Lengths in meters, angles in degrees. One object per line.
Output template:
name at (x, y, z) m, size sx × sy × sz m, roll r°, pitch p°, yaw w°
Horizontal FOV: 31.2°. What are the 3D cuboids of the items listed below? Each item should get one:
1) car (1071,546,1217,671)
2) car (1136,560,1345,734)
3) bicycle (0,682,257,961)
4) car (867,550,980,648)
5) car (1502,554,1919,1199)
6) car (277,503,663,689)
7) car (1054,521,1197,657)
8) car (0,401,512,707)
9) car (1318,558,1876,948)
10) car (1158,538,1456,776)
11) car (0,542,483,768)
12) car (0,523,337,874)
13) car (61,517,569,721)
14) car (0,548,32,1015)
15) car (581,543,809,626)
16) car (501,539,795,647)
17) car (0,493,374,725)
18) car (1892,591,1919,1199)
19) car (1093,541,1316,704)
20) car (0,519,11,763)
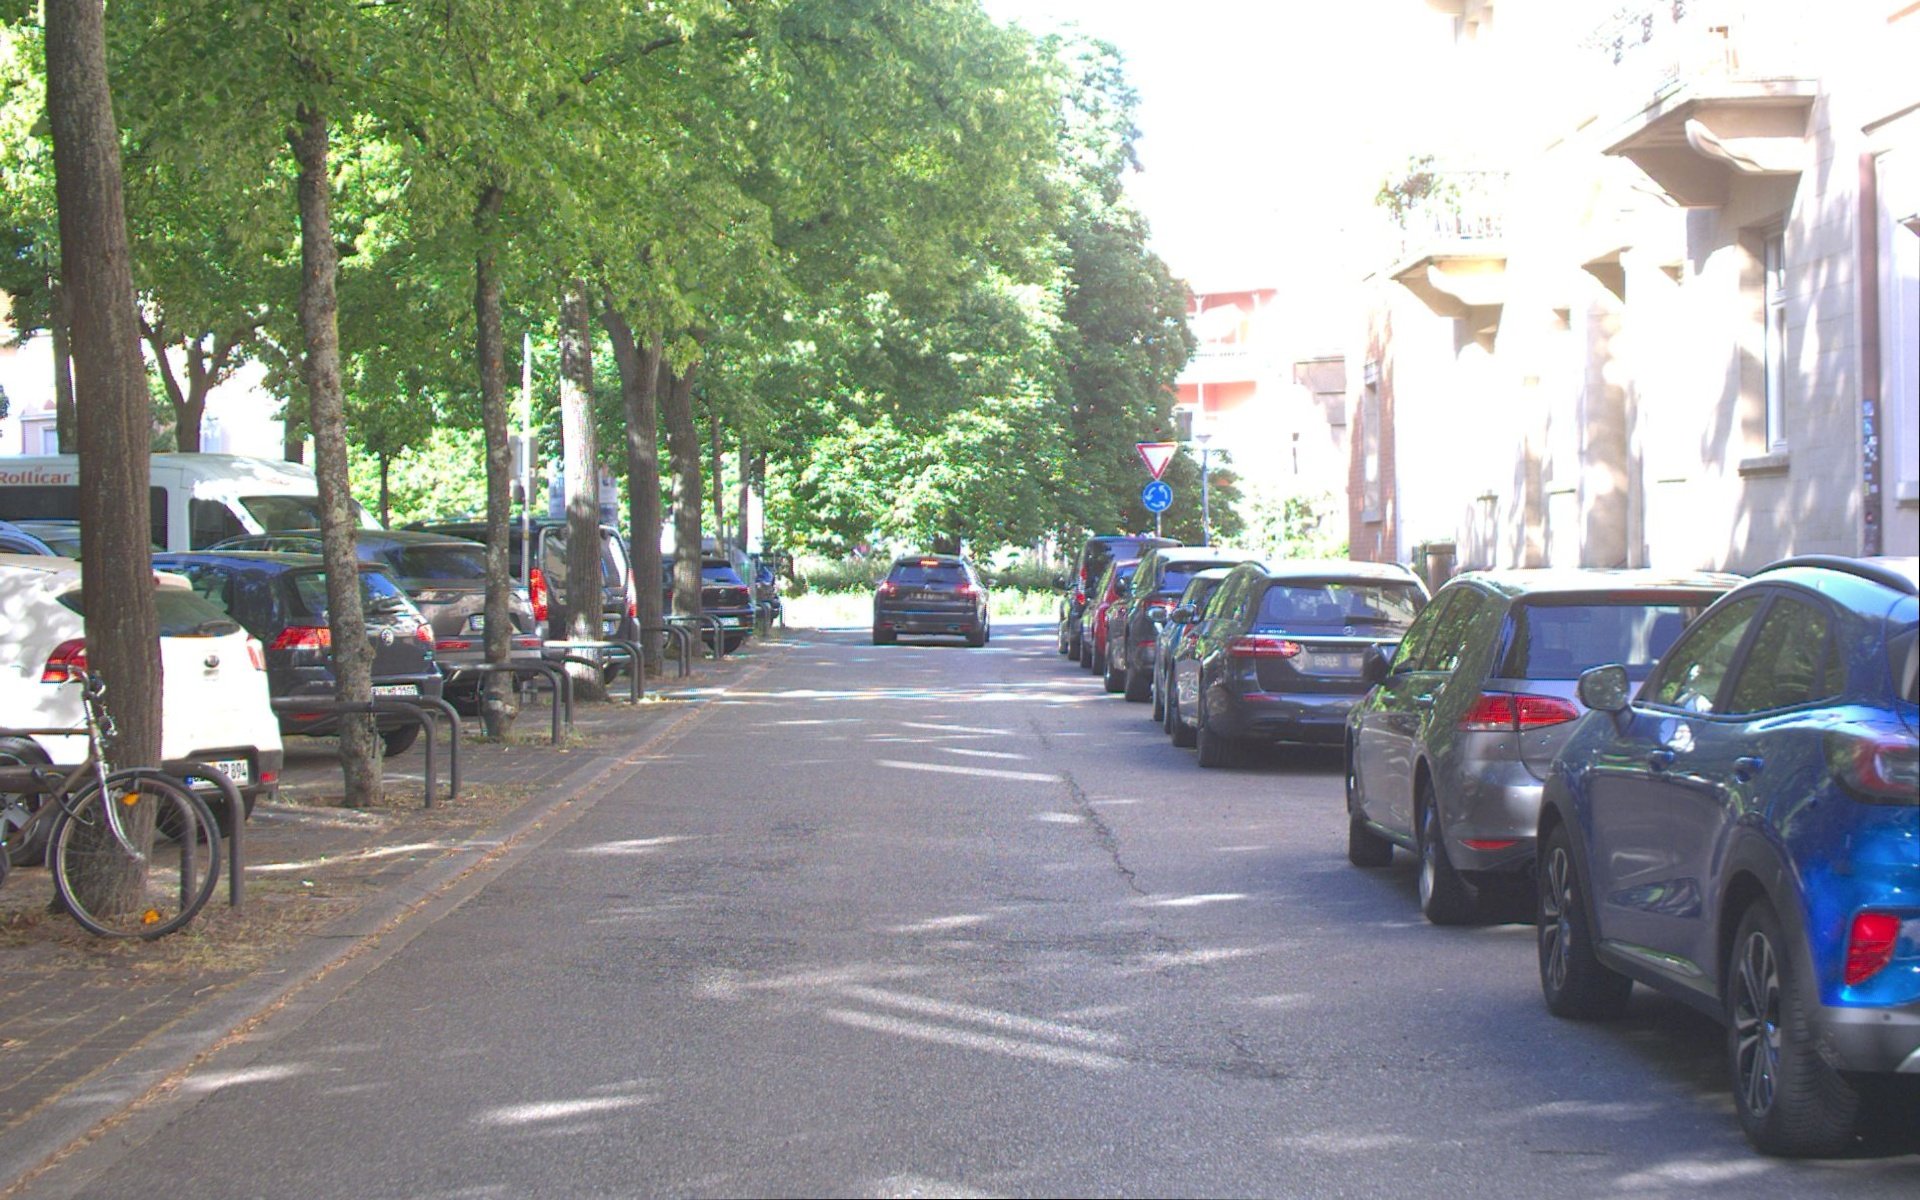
car at (2.436, 0.079, 46.297) m, size 1.645 × 1.532 × 4.000 m, roll 2°, pitch 1°, yaw -1°
car at (2.443, 0.375, 30.664) m, size 1.590 × 1.410 × 3.632 m, roll 1°, pitch 1°, yaw 1°
bicycle at (-3.552, 0.811, 12.837) m, size 1.812 × 0.990 × 0.425 m, roll 0°, pitch 1°, yaw 15°
car at (-0.568, -0.041, 56.510) m, size 1.714 × 1.478 × 4.144 m, roll -1°, pitch 1°, yaw 1°
car at (2.802, 0.660, 9.961) m, size 1.767 × 1.546 × 4.184 m, roll -1°, pitch 1°, yaw 0°
car at (-5.294, -0.065, 37.020) m, size 3.846 × 1.882 × 1.840 m, roll 0°, pitch 2°, yaw 34°
car at (2.425, -0.197, 51.393) m, size 1.801 × 1.864 × 4.273 m, roll 3°, pitch 1°, yaw -1°
car at (-7.882, -0.369, 34.562) m, size 6.069 × 2.614 × 2.453 m, roll -4°, pitch -1°, yaw 15°
car at (2.659, 0.564, 15.235) m, size 1.692 × 1.463 × 4.005 m, roll 1°, pitch 1°, yaw 0°
car at (2.477, 0.352, 25.491) m, size 1.805 × 1.558 × 4.320 m, roll -1°, pitch 1°, yaw 1°
car at (-5.543, 0.347, 24.248) m, size 4.102 × 1.476 × 1.729 m, roll 0°, pitch 0°, yaw 29°
car at (-5.167, 0.407, 17.173) m, size 3.687 × 1.590 × 1.770 m, roll 1°, pitch 1°, yaw 25°
car at (-5.688, 0.128, 30.206) m, size 4.269 × 1.636 × 1.653 m, roll 1°, pitch 1°, yaw 28°
car at (-5.423, 0.541, 11.341) m, size 4.621 × 1.481 × 1.758 m, roll 1°, pitch 1°, yaw 29°
car at (-4.923, -0.285, 63.547) m, size 4.138 × 1.476 × 1.772 m, roll 0°, pitch 0°, yaw 40°
car at (-4.473, -0.096, 49.021) m, size 4.088 × 1.461 × 1.867 m, roll 1°, pitch 0°, yaw -7°
car at (-7.155, 0.071, 28.159) m, size 4.386 × 1.771 × 1.896 m, roll 0°, pitch 0°, yaw 27°
car at (2.874, 0.732, 5.159) m, size 1.770 × 1.426 × 4.291 m, roll 0°, pitch 1°, yaw 0°
car at (2.599, 0.194, 37.552) m, size 1.864 × 1.638 × 4.492 m, roll 1°, pitch 1°, yaw -3°
car at (-8.208, 0.308, 22.077) m, size 3.910 × 1.550 × 1.843 m, roll -1°, pitch 1°, yaw 30°
